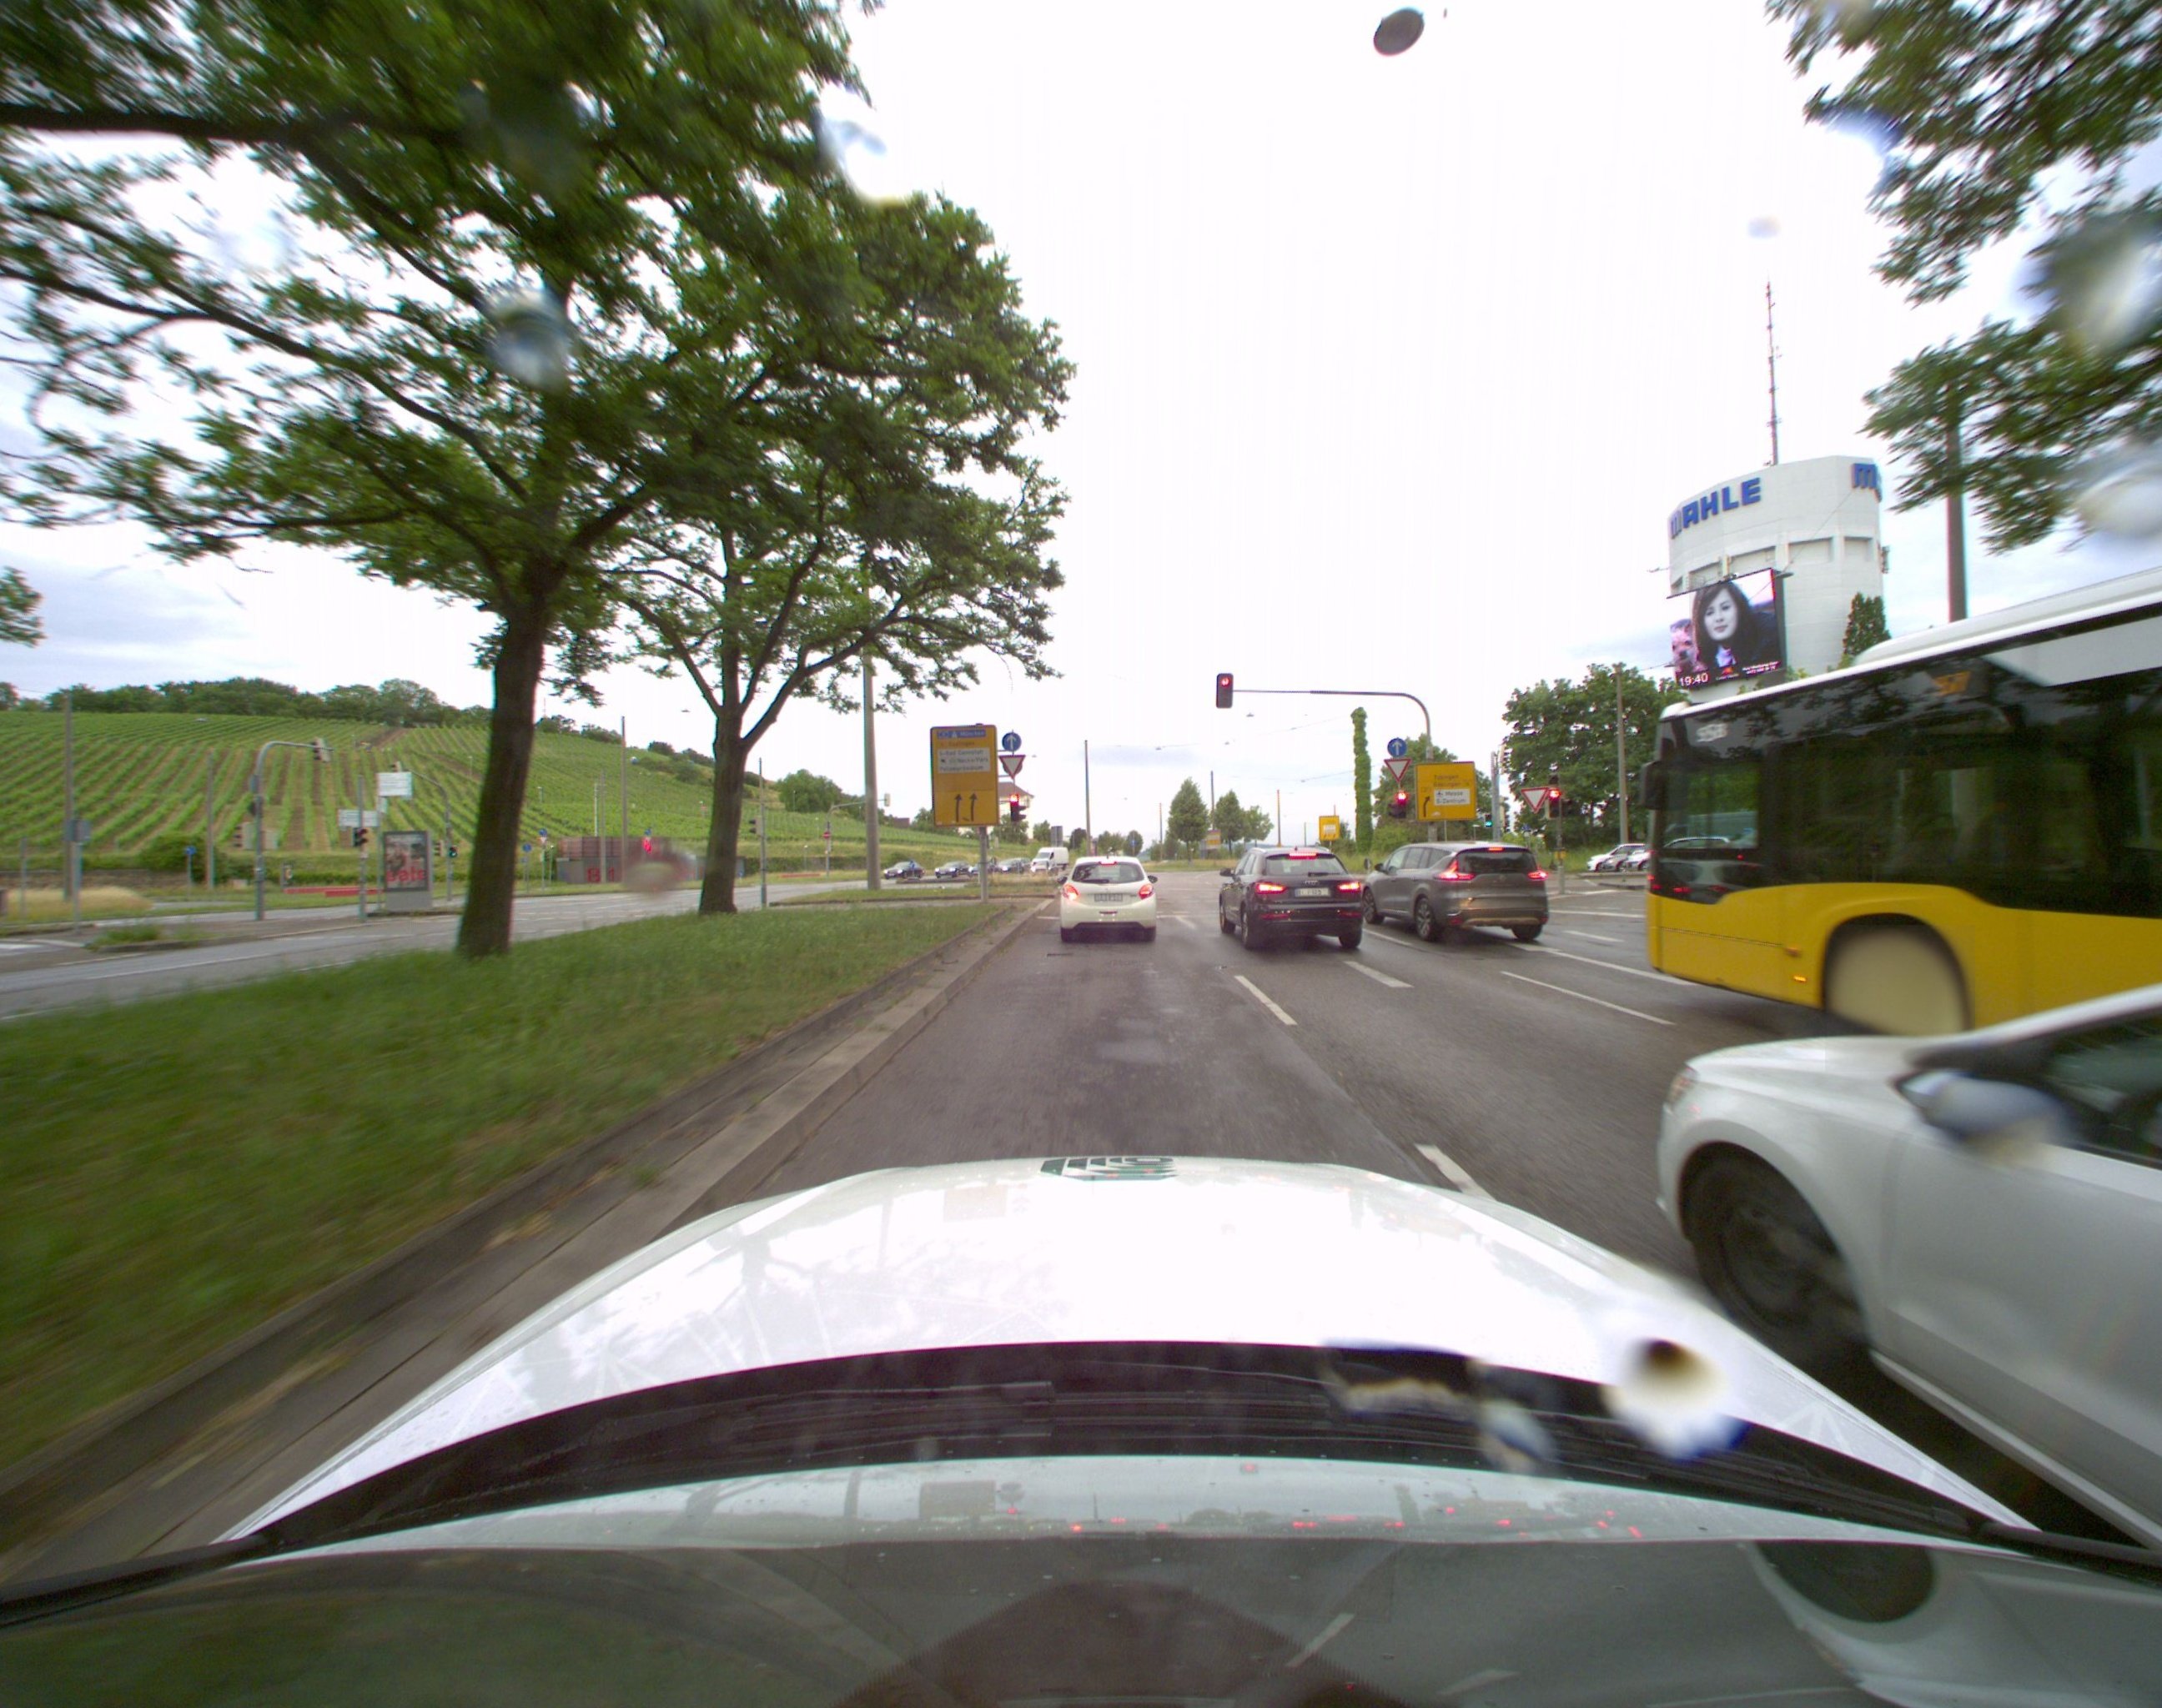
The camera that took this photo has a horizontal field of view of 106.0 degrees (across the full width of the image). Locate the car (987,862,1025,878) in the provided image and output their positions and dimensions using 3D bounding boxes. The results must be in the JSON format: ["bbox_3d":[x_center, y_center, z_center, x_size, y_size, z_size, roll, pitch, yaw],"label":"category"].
[{"bbox_3d":[-6.932,1.452,75.909,1.887,1.489,4.912,0,-1,16],"label":"car"}]

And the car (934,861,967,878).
[{"bbox_3d":[-11.485,1.383,72.047,1.776,1.395,3.890,0,-1,8],"label":"car"}]

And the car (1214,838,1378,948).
[{"bbox_3d":[3.483,0.587,13.978,1.877,1.595,4.115,0,-1,2],"label":"car"}]

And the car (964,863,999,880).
[{"bbox_3d":[-8.509,1.500,70.084,1.774,1.395,3.895,0,-1,13],"label":"car"}]

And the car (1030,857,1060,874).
[{"bbox_3d":[-3.073,0.987,70.621,1.766,1.425,4.383,-2,-1,8],"label":"car"}]

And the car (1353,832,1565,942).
[{"bbox_3d":[6.632,0.489,14.934,1.858,1.674,4.567,-1,1,1],"label":"car"}]

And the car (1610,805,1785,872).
[{"bbox_3d":[27.331,-0.608,36.447,5.953,2.741,2.094,-1,-2,29],"label":"car"}]

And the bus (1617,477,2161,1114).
[{"bbox_3d":[6.625,-0.273,2.318,2.716,3.152,12.154,0,0,3],"label":"bus"}]

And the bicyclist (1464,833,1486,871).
[{"bbox_3d":[16.665,-0.070,34.436,0.801,1.584,1.029,0,-1,29],"label":"bicyclist"}]

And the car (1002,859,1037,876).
[{"bbox_3d":[-6.498,1.404,86.405,1.976,1.575,4.219,-2,0,23],"label":"car"}]

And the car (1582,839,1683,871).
[{"bbox_3d":[28.966,0.072,42.932,4.094,1.564,1.881,-1,-1,23],"label":"car"}]

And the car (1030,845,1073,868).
[{"bbox_3d":[-3.350,0.353,93.616,1.975,2.559,6.207,0,-1,29],"label":"car"}]

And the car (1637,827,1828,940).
[{"bbox_3d":[10.232,0.439,13.128,1.847,1.498,4.177,-4,-2,32],"label":"car"}]

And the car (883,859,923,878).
[{"bbox_3d":[-15.369,1.248,70.467,1.819,1.623,4.577,0,-1,8],"label":"car"}]

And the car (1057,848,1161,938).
[{"bbox_3d":[0.539,0.673,15.631,1.711,1.489,4.002,-1,-1,2],"label":"car"}]

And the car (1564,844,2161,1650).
[{"bbox_3d":[2.789,0.701,1.379,1.735,1.432,3.812,0,-1,1],"label":"car"}]

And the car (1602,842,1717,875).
[{"bbox_3d":[28.017,0.237,39.602,4.327,1.520,1.740,-1,-1,26],"label":"car"}]

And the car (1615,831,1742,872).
[{"bbox_3d":[24.979,-0.064,34.220,4.011,1.569,1.882,-1,-2,26],"label":"car"}]
